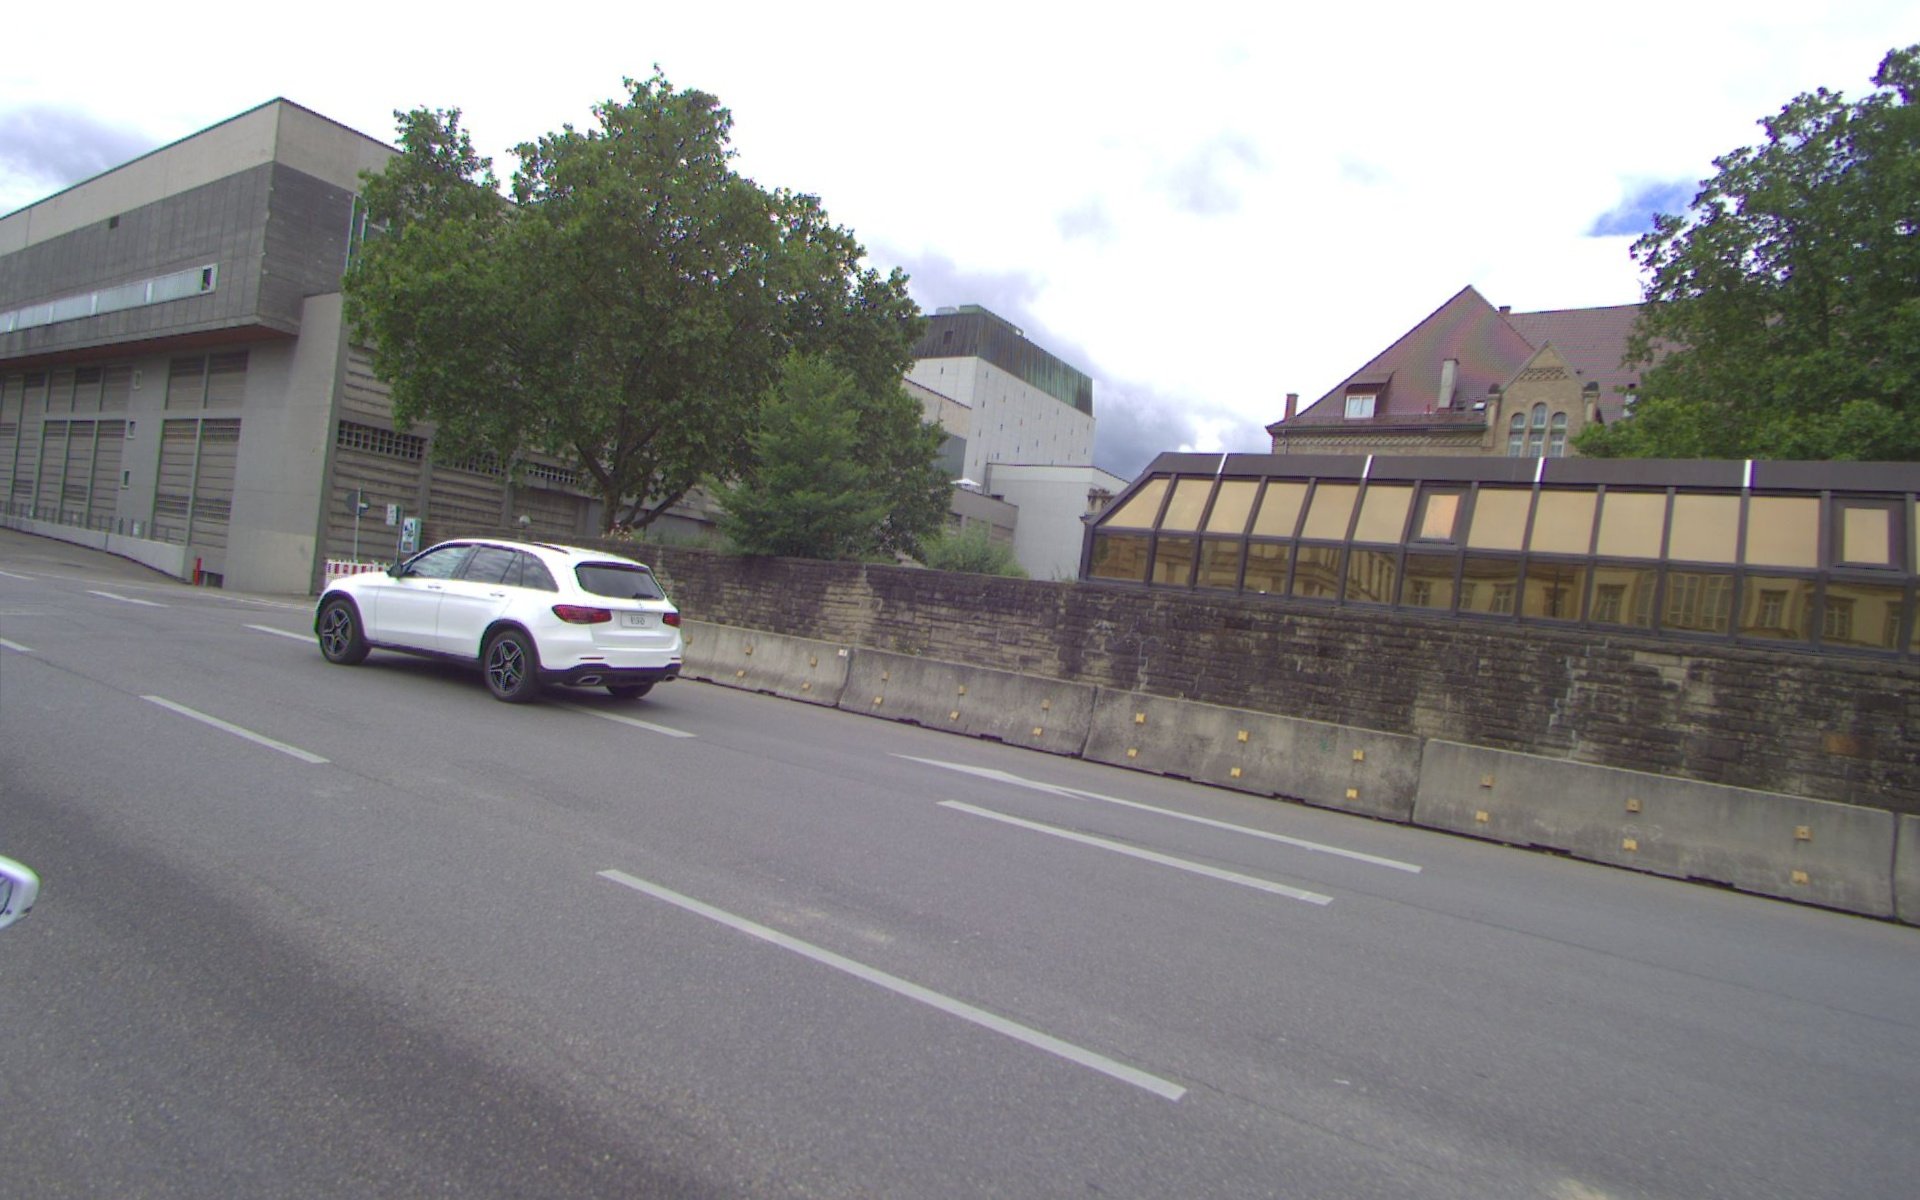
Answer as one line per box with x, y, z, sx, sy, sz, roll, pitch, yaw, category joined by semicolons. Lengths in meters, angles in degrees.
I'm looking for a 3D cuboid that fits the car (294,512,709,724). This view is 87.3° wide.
-5.291;0.125;11.498;4.472;1.664;1.814;8;2;27;car
